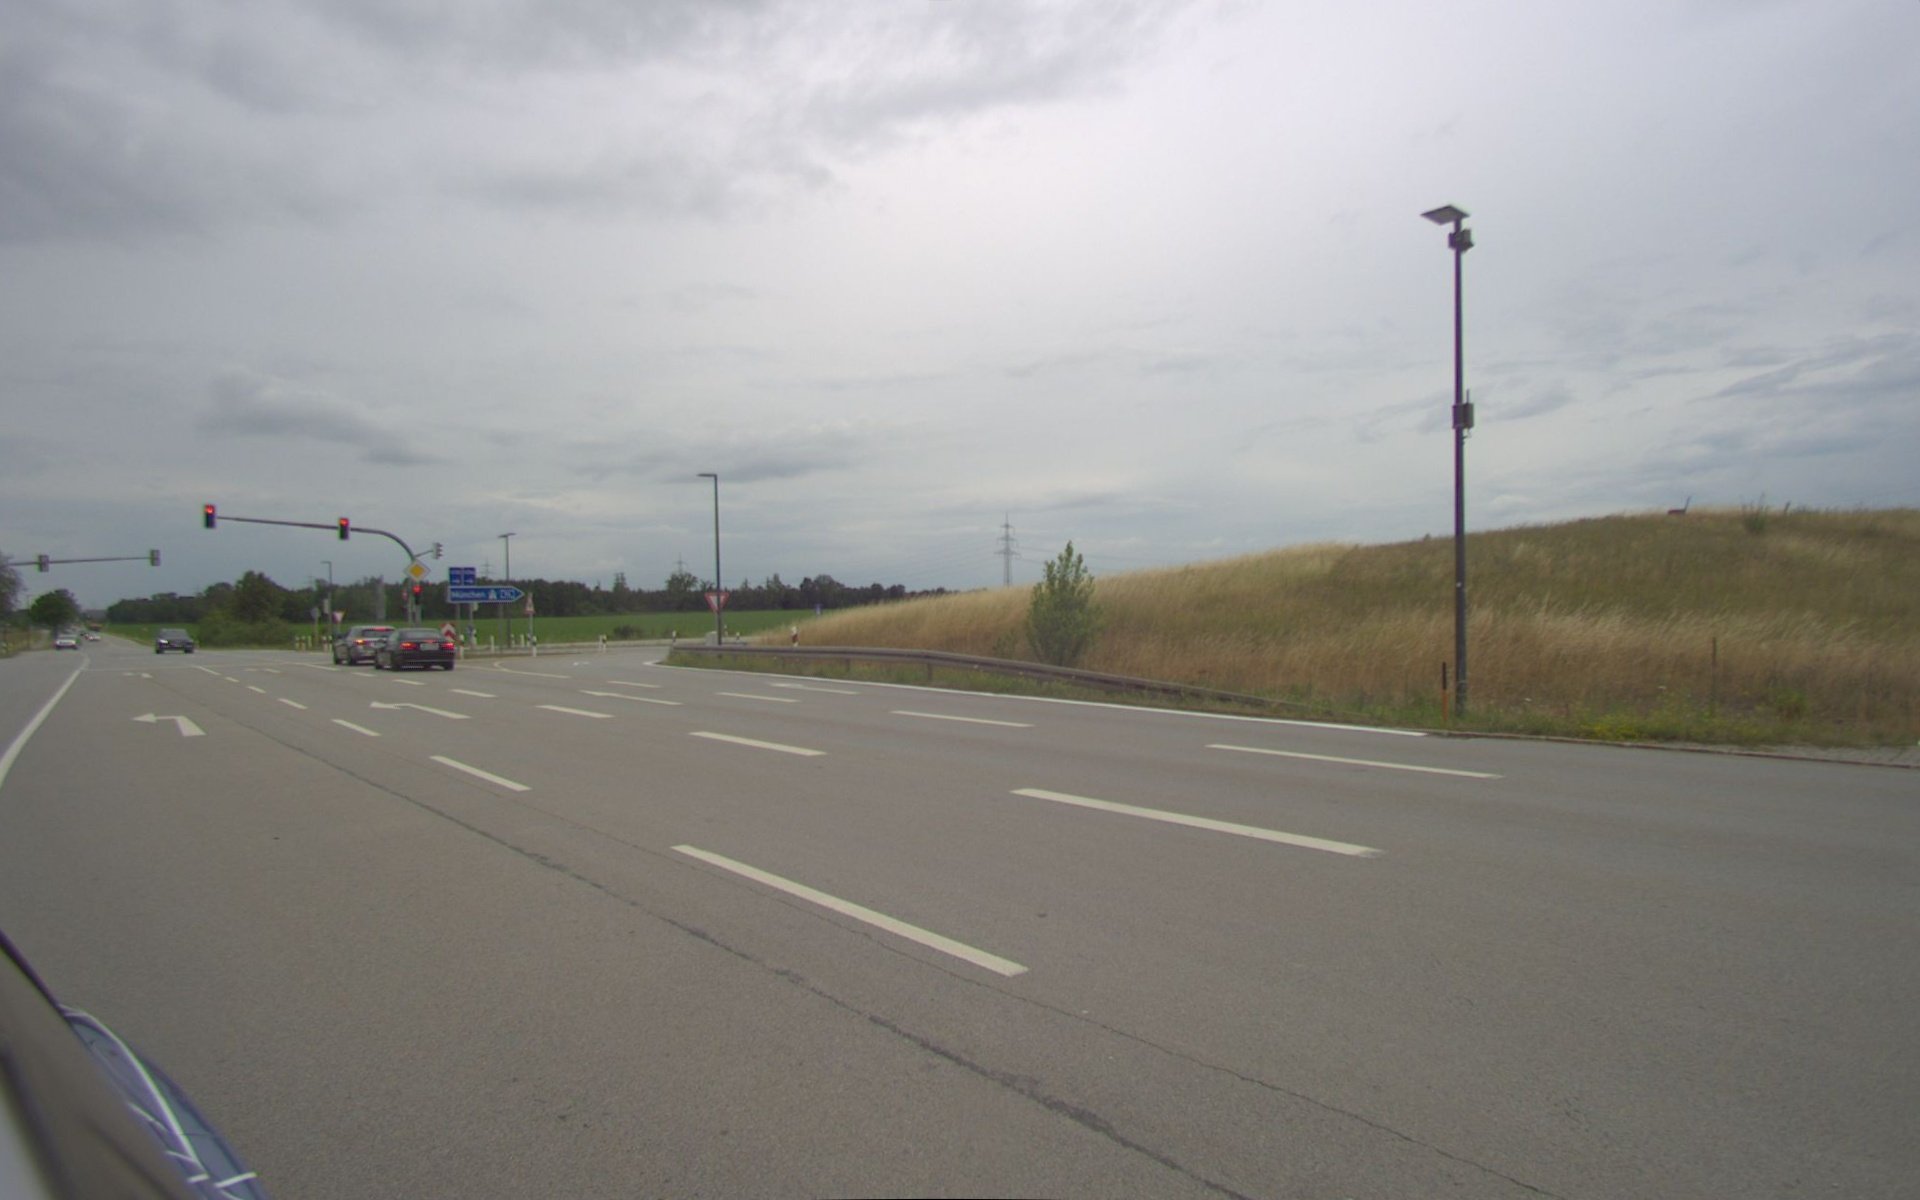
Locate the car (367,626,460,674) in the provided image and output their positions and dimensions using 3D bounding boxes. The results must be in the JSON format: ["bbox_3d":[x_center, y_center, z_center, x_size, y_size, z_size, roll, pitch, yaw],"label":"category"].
[{"bbox_3d":[-18.055,1.598,33.328,1.686,1.421,4.681,0,-1,-41],"label":"car"}]

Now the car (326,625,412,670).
[{"bbox_3d":[-22.717,1.796,38.810,1.891,1.623,4.955,2,-3,-41],"label":"car"}]

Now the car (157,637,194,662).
[{"bbox_3d":[-55.984,3.505,72.274,1.967,1.697,5.010,0,-2,-36],"label":"car"}]
